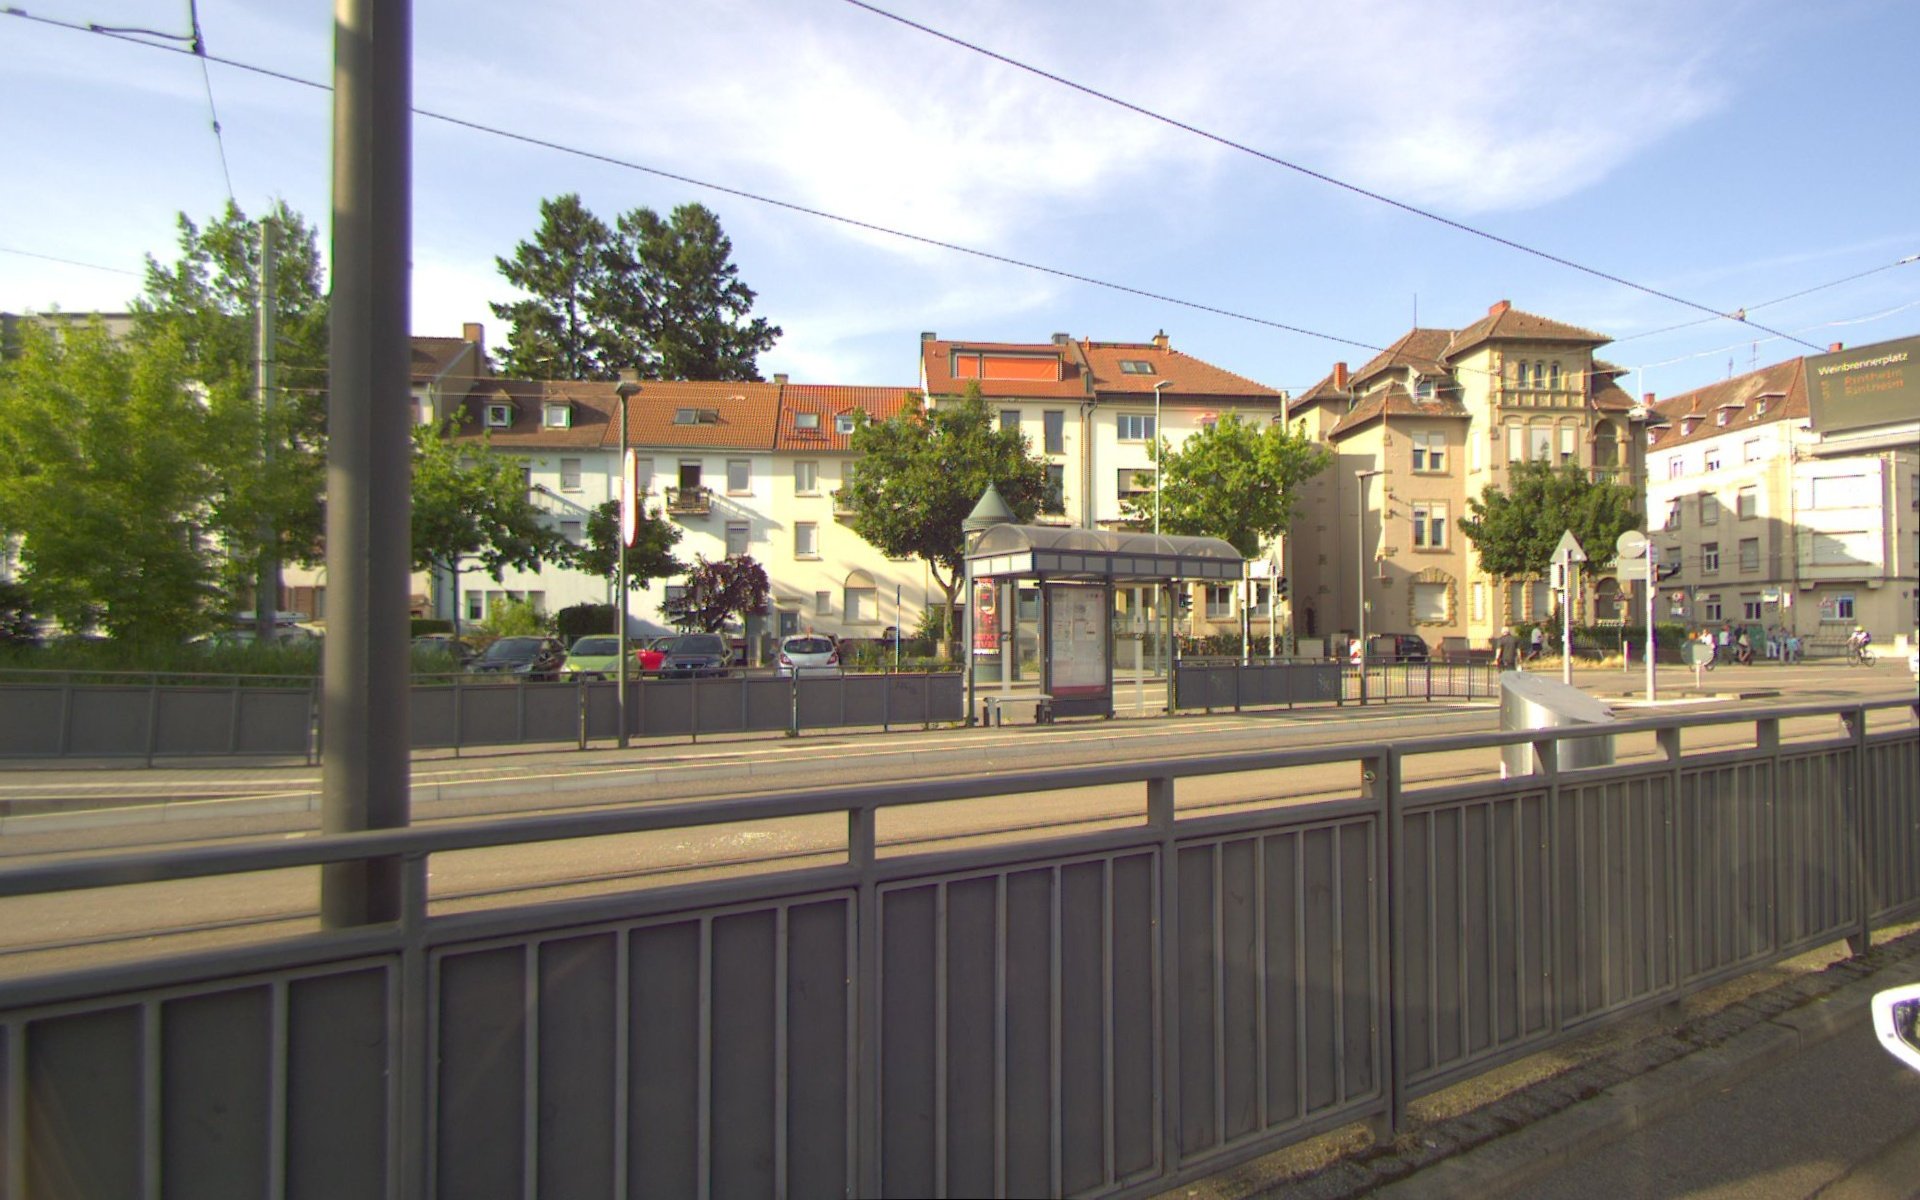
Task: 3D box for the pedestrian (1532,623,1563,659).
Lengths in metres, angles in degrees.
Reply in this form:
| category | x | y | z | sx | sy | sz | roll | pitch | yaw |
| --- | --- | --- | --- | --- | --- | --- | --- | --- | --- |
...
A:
| category | x | y | z | sx | sy | sz | roll | pitch | yaw |
| --- | --- | --- | --- | --- | --- | --- | --- | --- | --- |
| pedestrian | 25.613 | 1.785 | 43.804 | 0.768 | 1.572 | 0.831 | 0 | -2 | -8 |

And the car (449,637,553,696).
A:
| category | x | y | z | sx | sy | sz | roll | pitch | yaw |
| --- | --- | --- | --- | --- | --- | --- | --- | --- | --- |
| car | -11.883 | 1.677 | 26.255 | 1.968 | 1.416 | 3.985 | 0 | -2 | -18 |

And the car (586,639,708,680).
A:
| category | x | y | z | sx | sy | sz | roll | pitch | yaw |
| --- | --- | --- | --- | --- | --- | --- | --- | --- | --- |
| car | -11.226 | 2.123 | 36.248 | 3.927 | 1.416 | 1.836 | 0 | -2 | -9 |

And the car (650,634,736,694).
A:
| category | x | y | z | sx | sy | sz | roll | pitch | yaw |
| --- | --- | --- | --- | --- | --- | --- | --- | --- | --- |
| car | -7.166 | 1.683 | 27.288 | 1.815 | 1.505 | 3.995 | 0 | -2 | -9 |

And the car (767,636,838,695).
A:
| category | x | y | z | sx | sy | sz | roll | pitch | yaw |
| --- | --- | --- | --- | --- | --- | --- | --- | --- | --- |
| car | -4.349 | 1.765 | 27.826 | 1.815 | 1.505 | 3.995 | 0 | -2 | -9 |

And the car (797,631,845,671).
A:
| category | x | y | z | sx | sy | sz | roll | pitch | yaw |
| --- | --- | --- | --- | --- | --- | --- | --- | --- | --- |
| car | -6.058 | 2.198 | 44.208 | 1.962 | 1.684 | 3.997 | 0 | -2 | -6 |

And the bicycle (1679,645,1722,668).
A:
| category | x | y | z | sx | sy | sz | roll | pitch | yaw |
| --- | --- | --- | --- | --- | --- | --- | --- | --- | --- |
| bicycle | 28.931 | 2.196 | 39.255 | 1.661 | 0.845 | 0.525 | 1 | -2 | -21 |

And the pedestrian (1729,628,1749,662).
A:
| category | x | y | z | sx | sy | sz | roll | pitch | yaw |
| --- | --- | --- | --- | --- | --- | --- | --- | --- | --- |
| pedestrian | 34.505 | 1.994 | 44.498 | 0.540 | 1.520 | 0.437 | 0 | -2 | -15 |

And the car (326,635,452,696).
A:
| category | x | y | z | sx | sy | sz | roll | pitch | yaw |
| --- | --- | --- | --- | --- | --- | --- | --- | --- | --- |
| car | -14.404 | 1.602 | 25.595 | 1.968 | 1.416 | 3.985 | 0 | -2 | -18 |

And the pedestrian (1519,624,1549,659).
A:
| category | x | y | z | sx | sy | sz | roll | pitch | yaw |
| --- | --- | --- | --- | --- | --- | --- | --- | --- | --- |
| pedestrian | 25.540 | 1.845 | 44.714 | 0.768 | 1.572 | 0.831 | 0 | -2 | -8 |

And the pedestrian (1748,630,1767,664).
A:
| category | x | y | z | sx | sy | sz | roll | pitch | yaw |
| --- | --- | --- | --- | --- | --- | --- | --- | --- | --- |
| pedestrian | 35.705 | 2.099 | 44.977 | 0.382 | 1.520 | 0.535 | 0 | -2 | -15 |

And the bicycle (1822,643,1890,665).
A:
| category | x | y | z | sx | sy | sz | roll | pitch | yaw |
| --- | --- | --- | --- | --- | --- | --- | --- | --- | --- |
| bicycle | 38.392 | 2.309 | 43.027 | 2.950 | 0.926 | 0.784 | 1 | -2 | -18 |

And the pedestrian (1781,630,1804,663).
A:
| category | x | y | z | sx | sy | sz | roll | pitch | yaw |
| --- | --- | --- | --- | --- | --- | --- | --- | --- | --- |
| pedestrian | 39.286 | 2.196 | 47.414 | 0.702 | 1.561 | 0.626 | 1 | -2 | -30 |

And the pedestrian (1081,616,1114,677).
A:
| category | x | y | z | sx | sy | sz | roll | pitch | yaw |
| --- | --- | --- | --- | --- | --- | --- | --- | --- | --- |
| pedestrian | 3.989 | 1.343 | 29.165 | 0.752 | 1.769 | 0.546 | 1 | -2 | -21 |

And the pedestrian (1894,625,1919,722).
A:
| category | x | y | z | sx | sy | sz | roll | pitch | yaw |
| --- | --- | --- | --- | --- | --- | --- | --- | --- | --- |
| pedestrian | 16.290 | 1.241 | 16.984 | 0.627 | 1.620 | 0.608 | 1 | -2 | -36 |

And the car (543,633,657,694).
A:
| category | x | y | z | sx | sy | sz | roll | pitch | yaw |
| --- | --- | --- | --- | --- | --- | --- | --- | --- | --- |
| car | -9.661 | 1.672 | 27.265 | 1.813 | 1.505 | 3.999 | 0 | -2 | -3 |

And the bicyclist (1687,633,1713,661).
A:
| category | x | y | z | sx | sy | sz | roll | pitch | yaw |
| --- | --- | --- | --- | --- | --- | --- | --- | --- | --- |
| bicyclist | 28.920 | 1.826 | 39.256 | 0.669 | 1.058 | 0.512 | 1 | -2 | -22 |

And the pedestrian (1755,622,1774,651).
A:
| category | x | y | z | sx | sy | sz | roll | pitch | yaw |
| --- | --- | --- | --- | --- | --- | --- | --- | --- | --- |
| pedestrian | 48.006 | 2.173 | 59.950 | 0.576 | 1.682 | 0.620 | 0 | -2 | -14 |

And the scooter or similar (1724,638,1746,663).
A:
| category | x | y | z | sx | sy | sz | roll | pitch | yaw |
| --- | --- | --- | --- | --- | --- | --- | --- | --- | --- |
| scooter or similar | 34.862 | 2.279 | 45.192 | 0.675 | 1.093 | 0.541 | 2 | 0 | -30 |

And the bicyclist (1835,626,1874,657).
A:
| category | x | y | z | sx | sy | sz | roll | pitch | yaw |
| --- | --- | --- | --- | --- | --- | --- | --- | --- | --- |
| bicyclist | 38.374 | 1.776 | 43.098 | 1.156 | 1.278 | 0.763 | 0 | -2 | -18 |

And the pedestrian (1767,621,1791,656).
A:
| category | x | y | z | sx | sy | sz | roll | pitch | yaw |
| --- | --- | --- | --- | --- | --- | --- | --- | --- | --- |
| pedestrian | 48.952 | 2.307 | 60.027 | 0.773 | 2.040 | 0.775 | 0 | -2 | -15 |

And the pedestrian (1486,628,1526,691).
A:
| category | x | y | z | sx | sy | sz | roll | pitch | yaw |
| --- | --- | --- | --- | --- | --- | --- | --- | --- | --- |
| pedestrian | 14.627 | 1.585 | 26.924 | 0.778 | 1.667 | 0.757 | -1 | -2 | 16 |

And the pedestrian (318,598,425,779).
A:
| category | x | y | z | sx | sy | sz | roll | pitch | yaw |
| --- | --- | --- | --- | --- | --- | --- | --- | --- | --- |
| pedestrian | -5.824 | 0.864 | 9.978 | 0.867 | 1.706 | 0.551 | 1 | -5 | -30 |

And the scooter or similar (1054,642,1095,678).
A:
| category | x | y | z | sx | sy | sz | roll | pitch | yaw |
| --- | --- | --- | --- | --- | --- | --- | --- | --- | --- |
| scooter or similar | 3.258 | 1.703 | 28.602 | 1.007 | 1.001 | 0.556 | 1 | -2 | -19 |

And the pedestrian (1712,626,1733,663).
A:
| category | x | y | z | sx | sy | sz | roll | pitch | yaw |
| --- | --- | --- | --- | --- | --- | --- | --- | --- | --- |
| pedestrian | 34.191 | 1.990 | 45.057 | 0.601 | 1.647 | 0.506 | 1 | -2 | -28 |

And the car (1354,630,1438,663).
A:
| category | x | y | z | sx | sy | sz | roll | pitch | yaw |
| --- | --- | --- | --- | --- | --- | --- | --- | --- | --- |
| car | 20.370 | 2.169 | 47.129 | 1.732 | 1.327 | 4.111 | 2 | 0 | -7 |

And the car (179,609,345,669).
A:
| category | x | y | z | sx | sy | sz | roll | pitch | yaw |
| --- | --- | --- | --- | --- | --- | --- | --- | --- | --- |
| car | -18.661 | 1.053 | 27.108 | 1.813 | 1.505 | 3.999 | 0 | -2 | -3 |
